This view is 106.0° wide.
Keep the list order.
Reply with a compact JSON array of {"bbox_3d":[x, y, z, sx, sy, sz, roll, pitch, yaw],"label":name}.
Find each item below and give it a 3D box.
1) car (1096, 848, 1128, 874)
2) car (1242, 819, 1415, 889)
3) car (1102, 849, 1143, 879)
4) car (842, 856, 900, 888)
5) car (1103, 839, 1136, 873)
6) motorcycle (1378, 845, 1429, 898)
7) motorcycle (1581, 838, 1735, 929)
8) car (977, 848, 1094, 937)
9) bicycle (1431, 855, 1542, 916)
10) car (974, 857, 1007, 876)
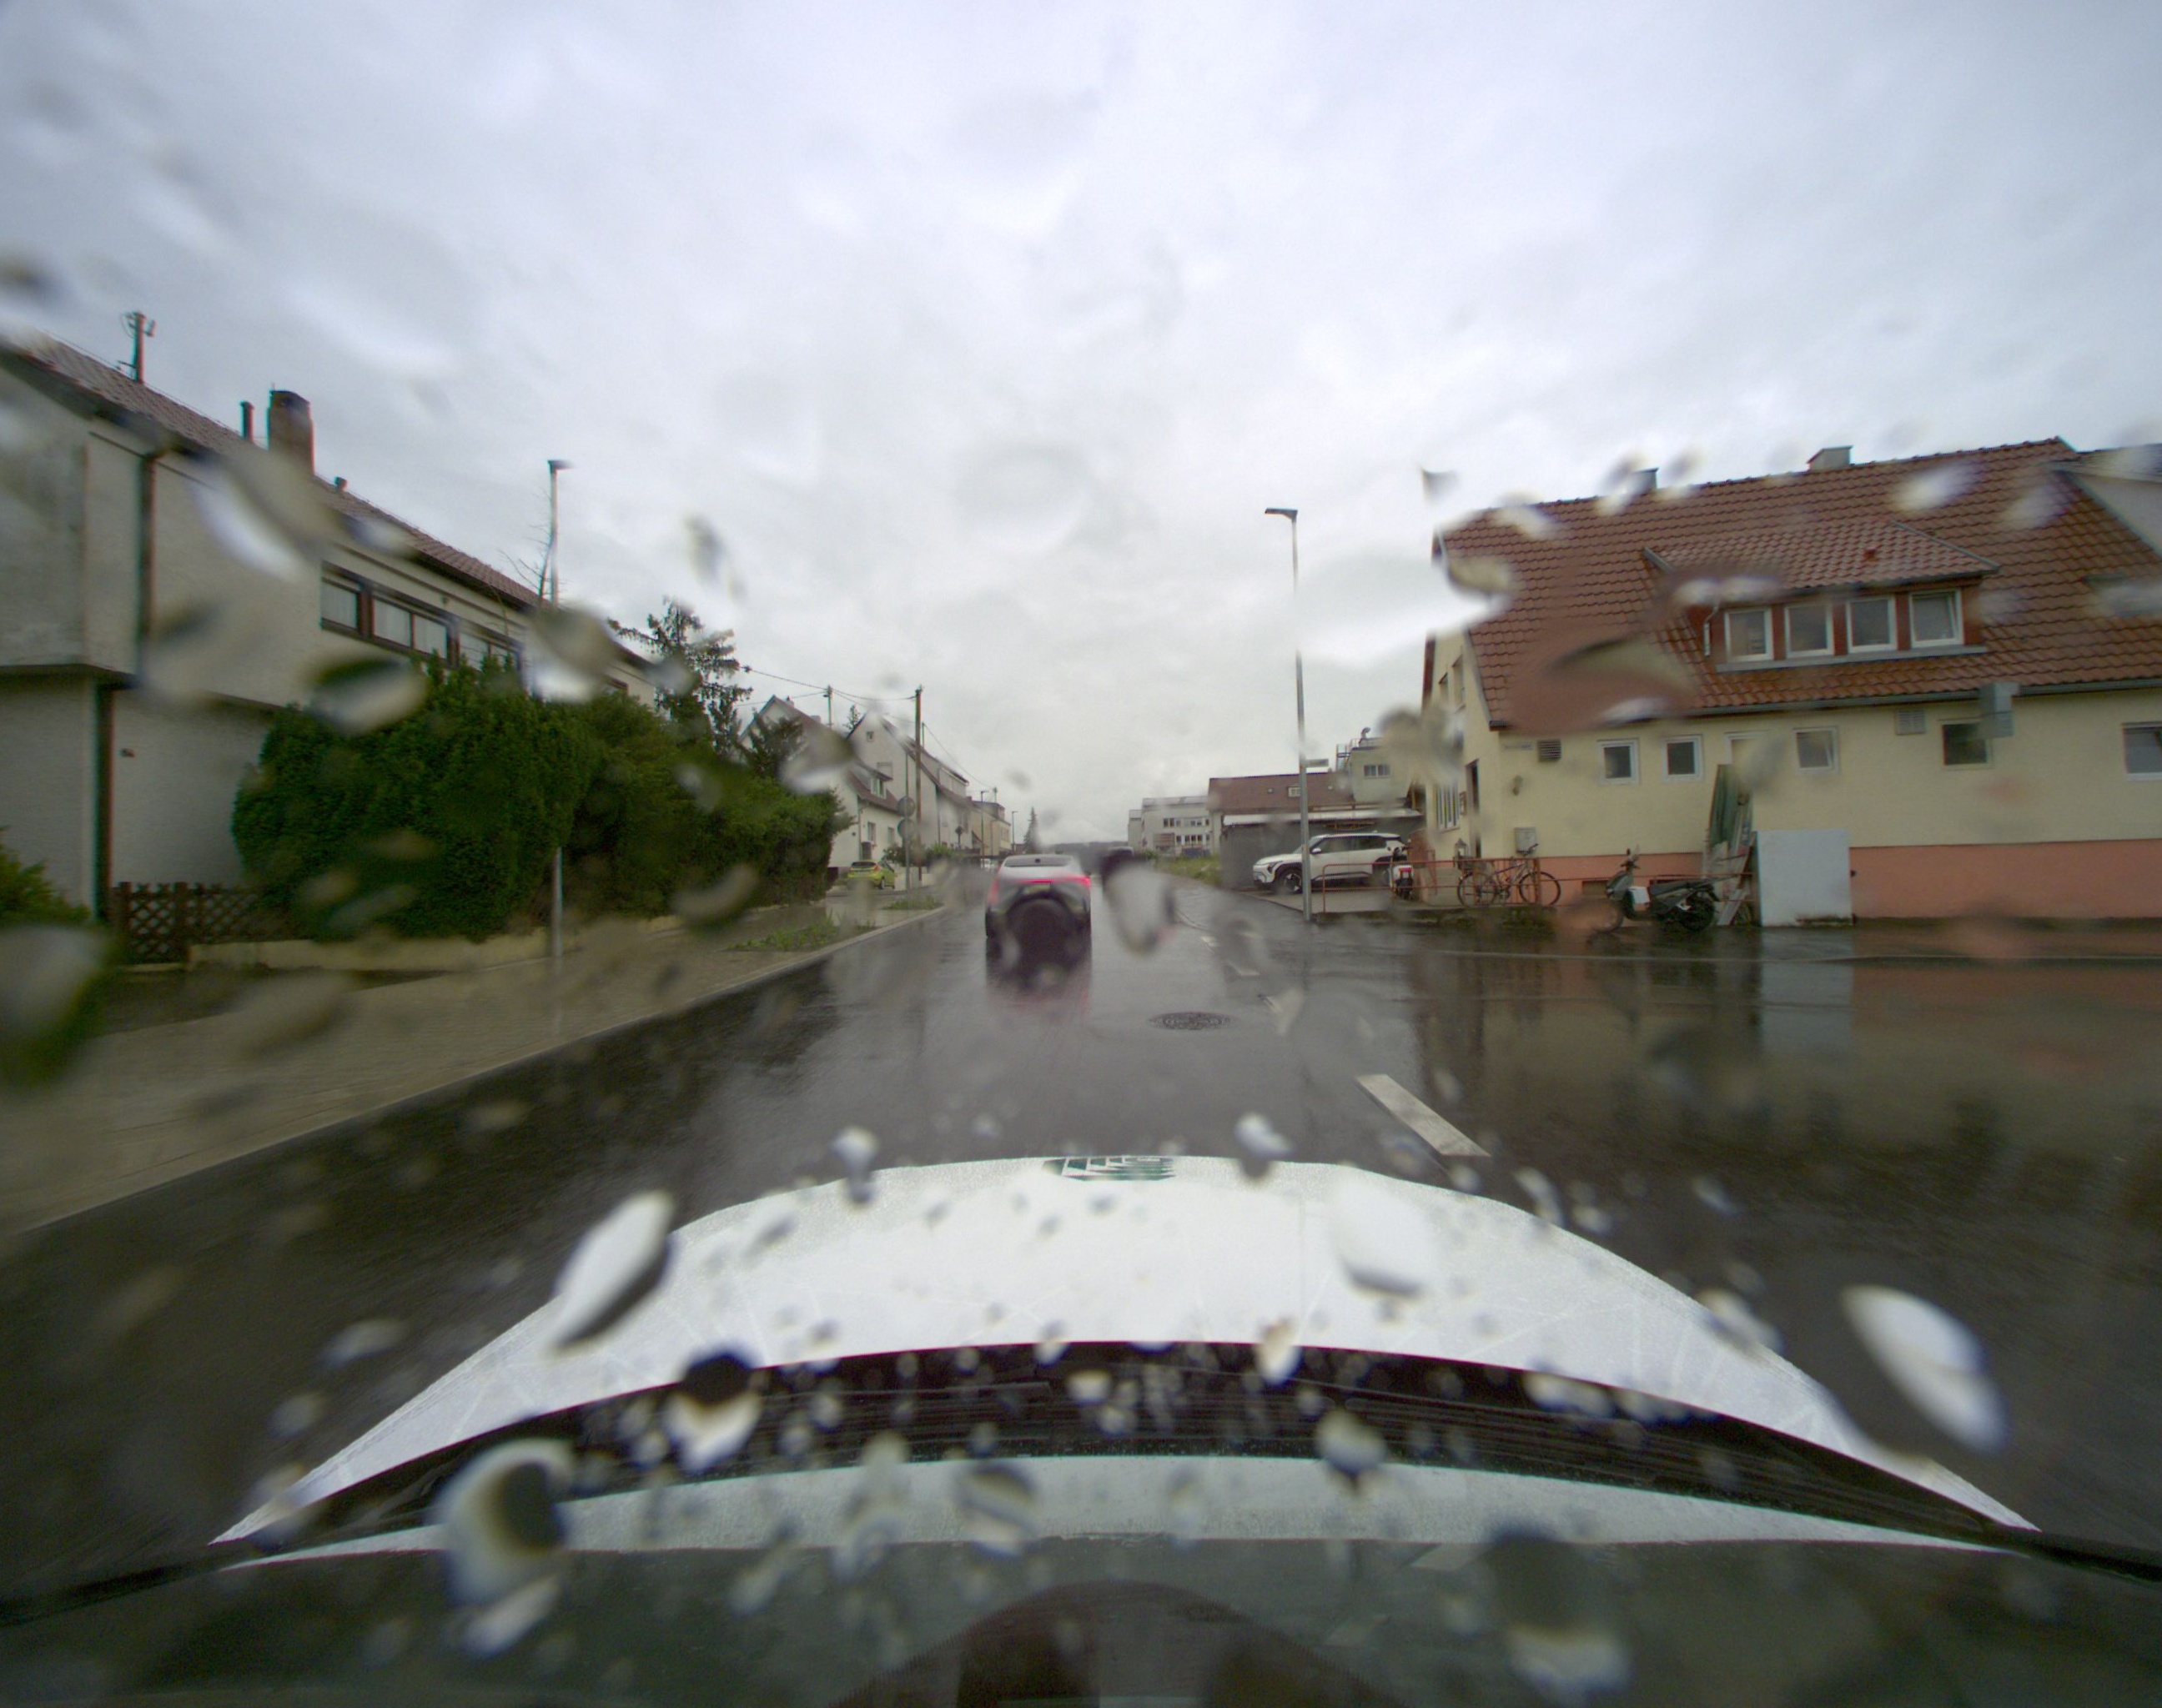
[{"bbox_3d":[1.953,0.478,52.191,1.639,1.575,4.637,-1,-1,-3],"label":"car"},{"bbox_3d":[6.829,0.024,22.806,4.203,1.610,1.860,-4,-1,0],"label":"car"},{"bbox_3d":[1.923,0.471,39.009,1.763,1.336,4.320,-1,-1,0],"label":"car"},{"bbox_3d":[-10.118,0.885,39.430,1.772,1.467,3.458,-1,-2,2],"label":"car"},{"bbox_3d":[2.133,0.147,45.802,1.762,1.825,4.575,-1,-1,1],"label":"car"},{"bbox_3d":[7.011,0.353,17.781,0.485,1.096,2.004,-1,0,6],"label":"motorcycle"},{"bbox_3d":[9.545,0.502,13.535,2.018,1.456,0.491,-1,-1,14],"label":"motorcycle"},{"bbox_3d":[-0.789,0.702,16.479,1.987,1.502,4.668,-2,-1,0],"label":"car"},{"bbox_3d":[7.465,0.584,15.052,1.757,1.096,0.491,-1,0,15],"label":"bicycle"},{"bbox_3d":[-7.537,1.036,68.044,1.986,1.510,4.897,1,-1,2],"label":"car"}]
